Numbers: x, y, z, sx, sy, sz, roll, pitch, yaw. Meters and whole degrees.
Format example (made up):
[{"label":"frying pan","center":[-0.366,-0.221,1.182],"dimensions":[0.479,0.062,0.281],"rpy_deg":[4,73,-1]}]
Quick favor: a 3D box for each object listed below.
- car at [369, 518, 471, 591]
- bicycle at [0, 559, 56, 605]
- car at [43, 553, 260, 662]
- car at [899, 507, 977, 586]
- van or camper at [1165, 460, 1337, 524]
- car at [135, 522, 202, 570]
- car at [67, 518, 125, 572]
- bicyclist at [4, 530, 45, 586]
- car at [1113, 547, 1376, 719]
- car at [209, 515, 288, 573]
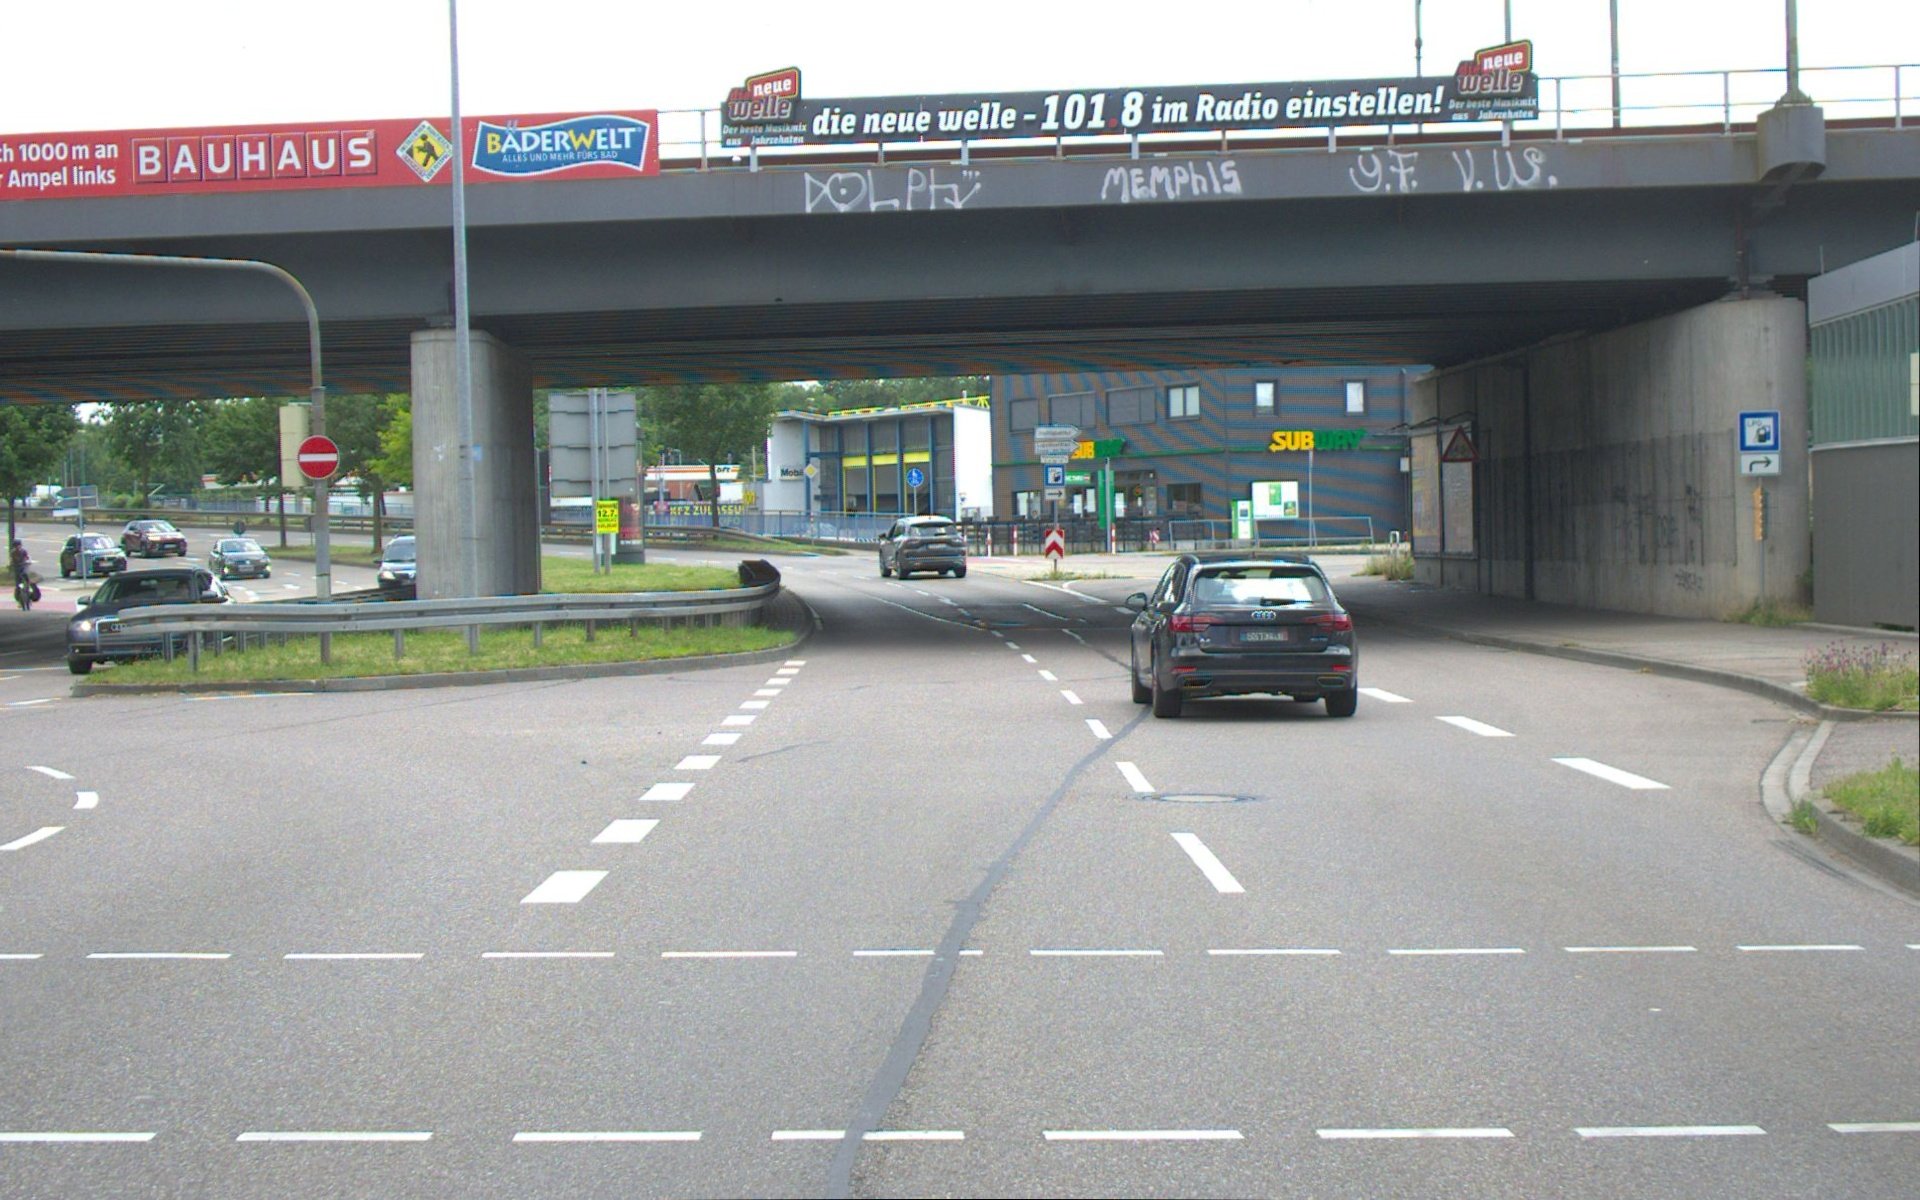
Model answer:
[{"label":"car","center":[-13.778,-1.192,87.929],"dimensions":[1.993,1.753,4.717],"rpy_deg":[-2,1,-2]},{"label":"bicycle","center":[-23.372,-0.463,85.948],"dimensions":[0.680,1.139,2.283],"rpy_deg":[0,1,7]},{"label":"car","center":[-11.534,0.072,49.368],"dimensions":[1.974,1.384,4.781],"rpy_deg":[-2,1,0]},{"label":"car","center":[-0.569,-1.454,92.998],"dimensions":[1.993,2.030,4.713],"rpy_deg":[-2,1,0]},{"label":"van or camper","center":[10.276,-3.794,121.261],"dimensions":[6.229,2.165,2.126],"rpy_deg":[-1,1,-37]},{"label":"car","center":[-34.339,-2.369,149.263],"dimensions":[1.993,2.007,4.337],"rpy_deg":[-2,1,-2]},{"label":"car","center":[-33.302,-2.127,132.580],"dimensions":[1.993,2.007,4.338],"rpy_deg":[-2,2,-13]},{"label":"bicyclist","center":[-23.378,-1.049,85.930],"dimensions":[0.682,1.403,0.924],"rpy_deg":[0,1,7]},{"label":"car","center":[2.524,0.242,31.543],"dimensions":[1.993,1.385,4.576],"rpy_deg":[0,2,0]},{"label":"car","center":[-25.405,-2.020,122.827],"dimensions":[1.993,2.007,4.337],"rpy_deg":[-2,1,-2]}]
